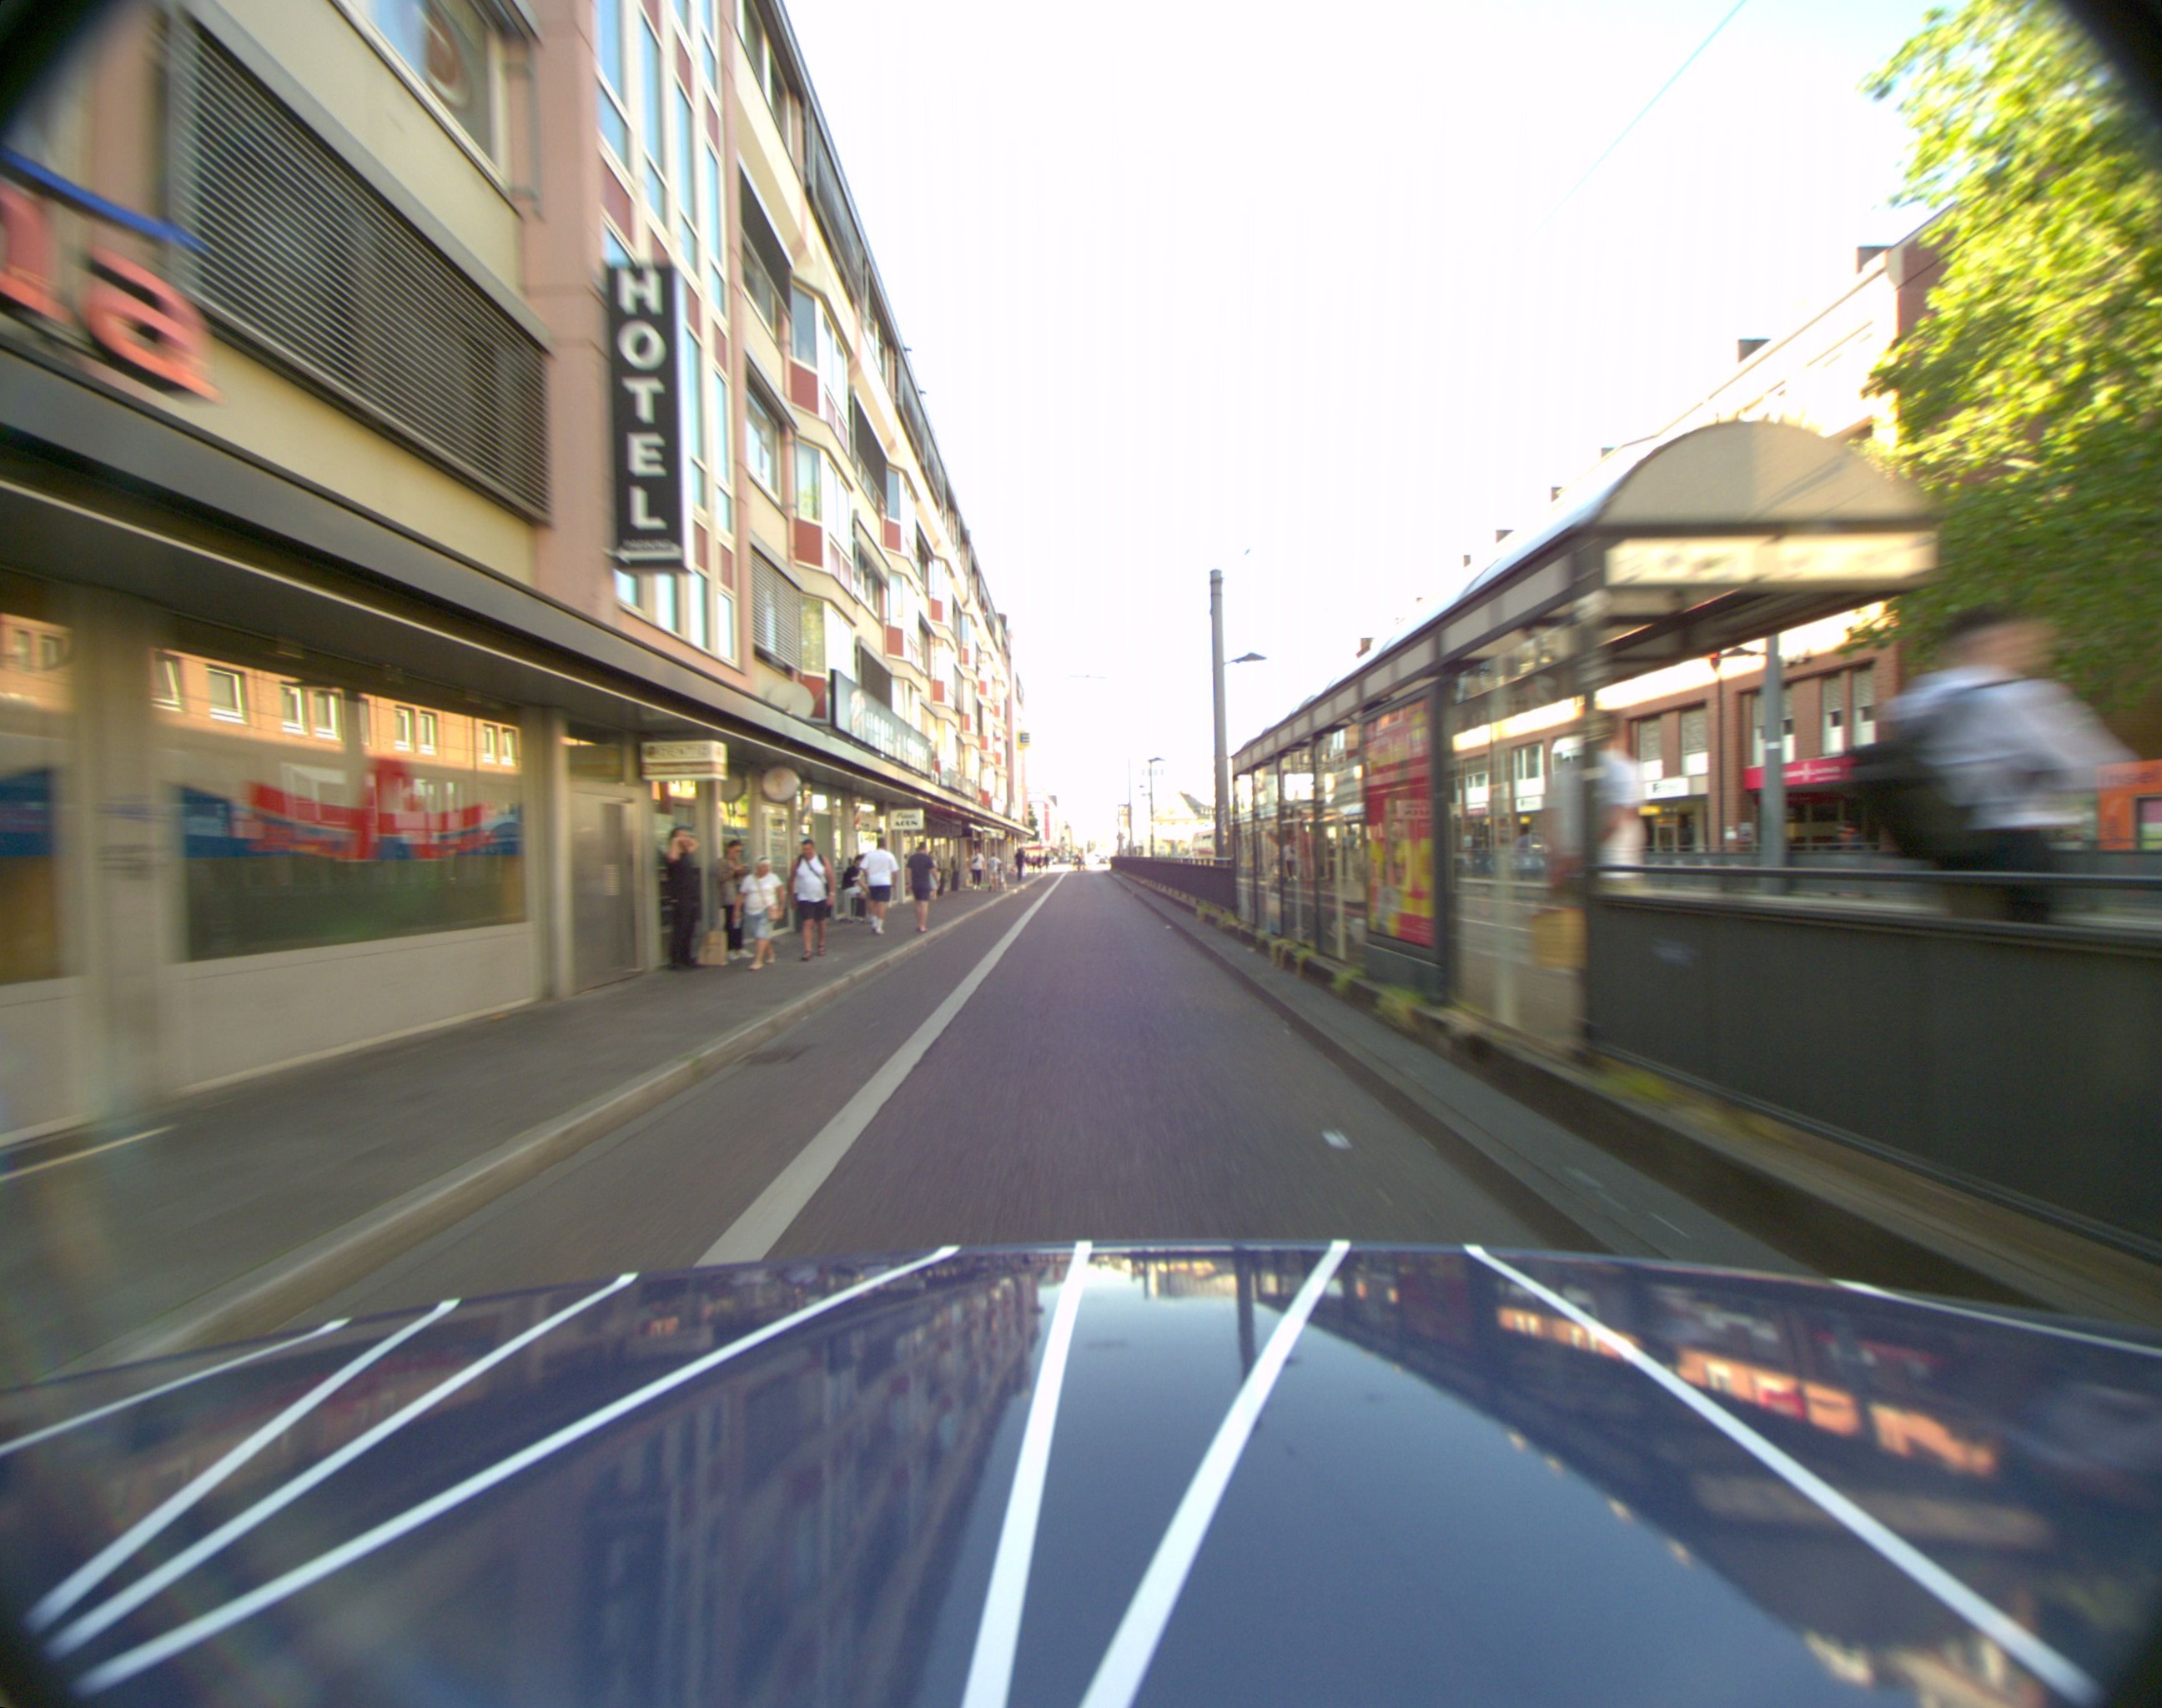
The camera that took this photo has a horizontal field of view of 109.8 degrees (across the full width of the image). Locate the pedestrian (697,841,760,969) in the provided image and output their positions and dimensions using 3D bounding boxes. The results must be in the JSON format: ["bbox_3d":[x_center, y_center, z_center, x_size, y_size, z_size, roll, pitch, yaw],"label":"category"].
[{"bbox_3d":[-4.964,0.701,10.718,0.631,1.759,0.501,0,1,1],"label":"pedestrian"}]

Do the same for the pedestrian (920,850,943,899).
[{"bbox_3d":[-4.915,0.662,25.005,0.602,1.581,0.553,-1,1,0],"label":"pedestrian"}]

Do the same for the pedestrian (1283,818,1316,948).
[{"bbox_3d":[2.729,0.352,9.482,0.321,1.563,0.543,-2,1,16],"label":"pedestrian"}]

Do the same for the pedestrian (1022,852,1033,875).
[{"bbox_3d":[-3.673,0.649,52.202,0.667,1.512,0.789,1,1,-2],"label":"pedestrian"}]

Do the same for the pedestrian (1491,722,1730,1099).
[{"bbox_3d":[2.699,0.265,3.951,0.691,1.755,0.748,-2,1,-1],"label":"pedestrian"}]

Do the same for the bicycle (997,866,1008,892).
[{"bbox_3d":[-3.253,1.025,31.478,0.303,0.984,1.760,-1,0,-1],"label":"bicycle"}]

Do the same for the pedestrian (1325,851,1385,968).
[{"bbox_3d":[2.808,0.549,7.805,0.409,1.146,0.460,-3,1,-1],"label":"pedestrian"}]

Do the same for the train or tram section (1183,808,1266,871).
[{"bbox_3d":[9.495,-0.928,52.327,2.981,3.623,13.942,-3,0,0],"label":"train or tram section"}]

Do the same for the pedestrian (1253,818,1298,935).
[{"bbox_3d":[2.687,0.301,10.537,0.425,1.564,0.592,-2,1,0],"label":"pedestrian"}]

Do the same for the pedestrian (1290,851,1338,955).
[{"bbox_3d":[2.665,0.551,8.712,0.366,1.146,0.460,-3,1,-1],"label":"pedestrian"}]

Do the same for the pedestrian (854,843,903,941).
[{"bbox_3d":[-3.848,0.706,14.477,0.707,1.809,0.763,1,1,0],"label":"pedestrian"}]

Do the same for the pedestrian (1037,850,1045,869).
[{"bbox_3d":[-3.442,0.457,65.798,0.709,1.604,0.495,0,3,-1],"label":"pedestrian"}]

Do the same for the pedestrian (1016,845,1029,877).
[{"bbox_3d":[-3.404,0.427,44.426,0.676,1.850,0.992,0,1,2],"label":"pedestrian"}]

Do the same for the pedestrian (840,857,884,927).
[{"bbox_3d":[-4.791,0.820,16.647,0.740,1.464,0.707,1,1,1],"label":"pedestrian"}]

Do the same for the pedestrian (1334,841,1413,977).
[{"bbox_3d":[2.803,0.514,7.309,0.541,1.245,0.460,-3,1,-1],"label":"pedestrian"}]

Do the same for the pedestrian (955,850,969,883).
[{"bbox_3d":[-5.873,0.608,37.613,0.517,1.623,0.522,-2,1,5],"label":"pedestrian"}]

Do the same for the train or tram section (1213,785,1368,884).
[{"bbox_3d":[9.437,-0.718,37.281,2.981,3.623,16.485,-3,0,0],"label":"train or tram section"}]

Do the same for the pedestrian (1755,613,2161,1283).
[{"bbox_3d":[2.785,0.243,2.362,0.691,1.742,0.748,-2,1,-1],"label":"pedestrian"}]

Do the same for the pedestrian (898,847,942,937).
[{"bbox_3d":[-3.153,0.728,14.910,0.669,1.719,0.810,1,1,-1],"label":"pedestrian"}]

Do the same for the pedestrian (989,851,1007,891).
[{"bbox_3d":[-3.432,0.702,31.448,0.664,1.621,0.705,1,1,-1],"label":"pedestrian"}]

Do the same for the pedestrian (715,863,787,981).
[{"bbox_3d":[-4.286,0.865,9.910,0.637,1.475,0.654,1,1,-1],"label":"pedestrian"}]

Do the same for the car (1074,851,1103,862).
[{"bbox_3d":[1.055,0.321,106.614,3.802,1.458,1.776,-2,1,44],"label":"car"}]

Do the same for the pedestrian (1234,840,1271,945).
[{"bbox_3d":[2.630,0.582,11.694,0.425,1.564,0.447,-2,1,0],"label":"pedestrian"}]

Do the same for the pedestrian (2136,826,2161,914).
[{"bbox_3d":[22.649,0.324,15.732,0.688,1.795,0.648,-2,1,-1],"label":"pedestrian"}]

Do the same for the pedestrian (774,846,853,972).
[{"bbox_3d":[-3.848,0.763,10.990,0.746,1.717,0.814,-3,1,1],"label":"pedestrian"}]

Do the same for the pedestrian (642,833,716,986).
[{"bbox_3d":[-5.042,0.669,9.561,0.452,1.839,0.812,0,1,2],"label":"pedestrian"}]

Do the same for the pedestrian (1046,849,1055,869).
[{"bbox_3d":[-2.800,0.448,69.785,0.680,1.832,0.606,-3,1,-12],"label":"pedestrian"}]
